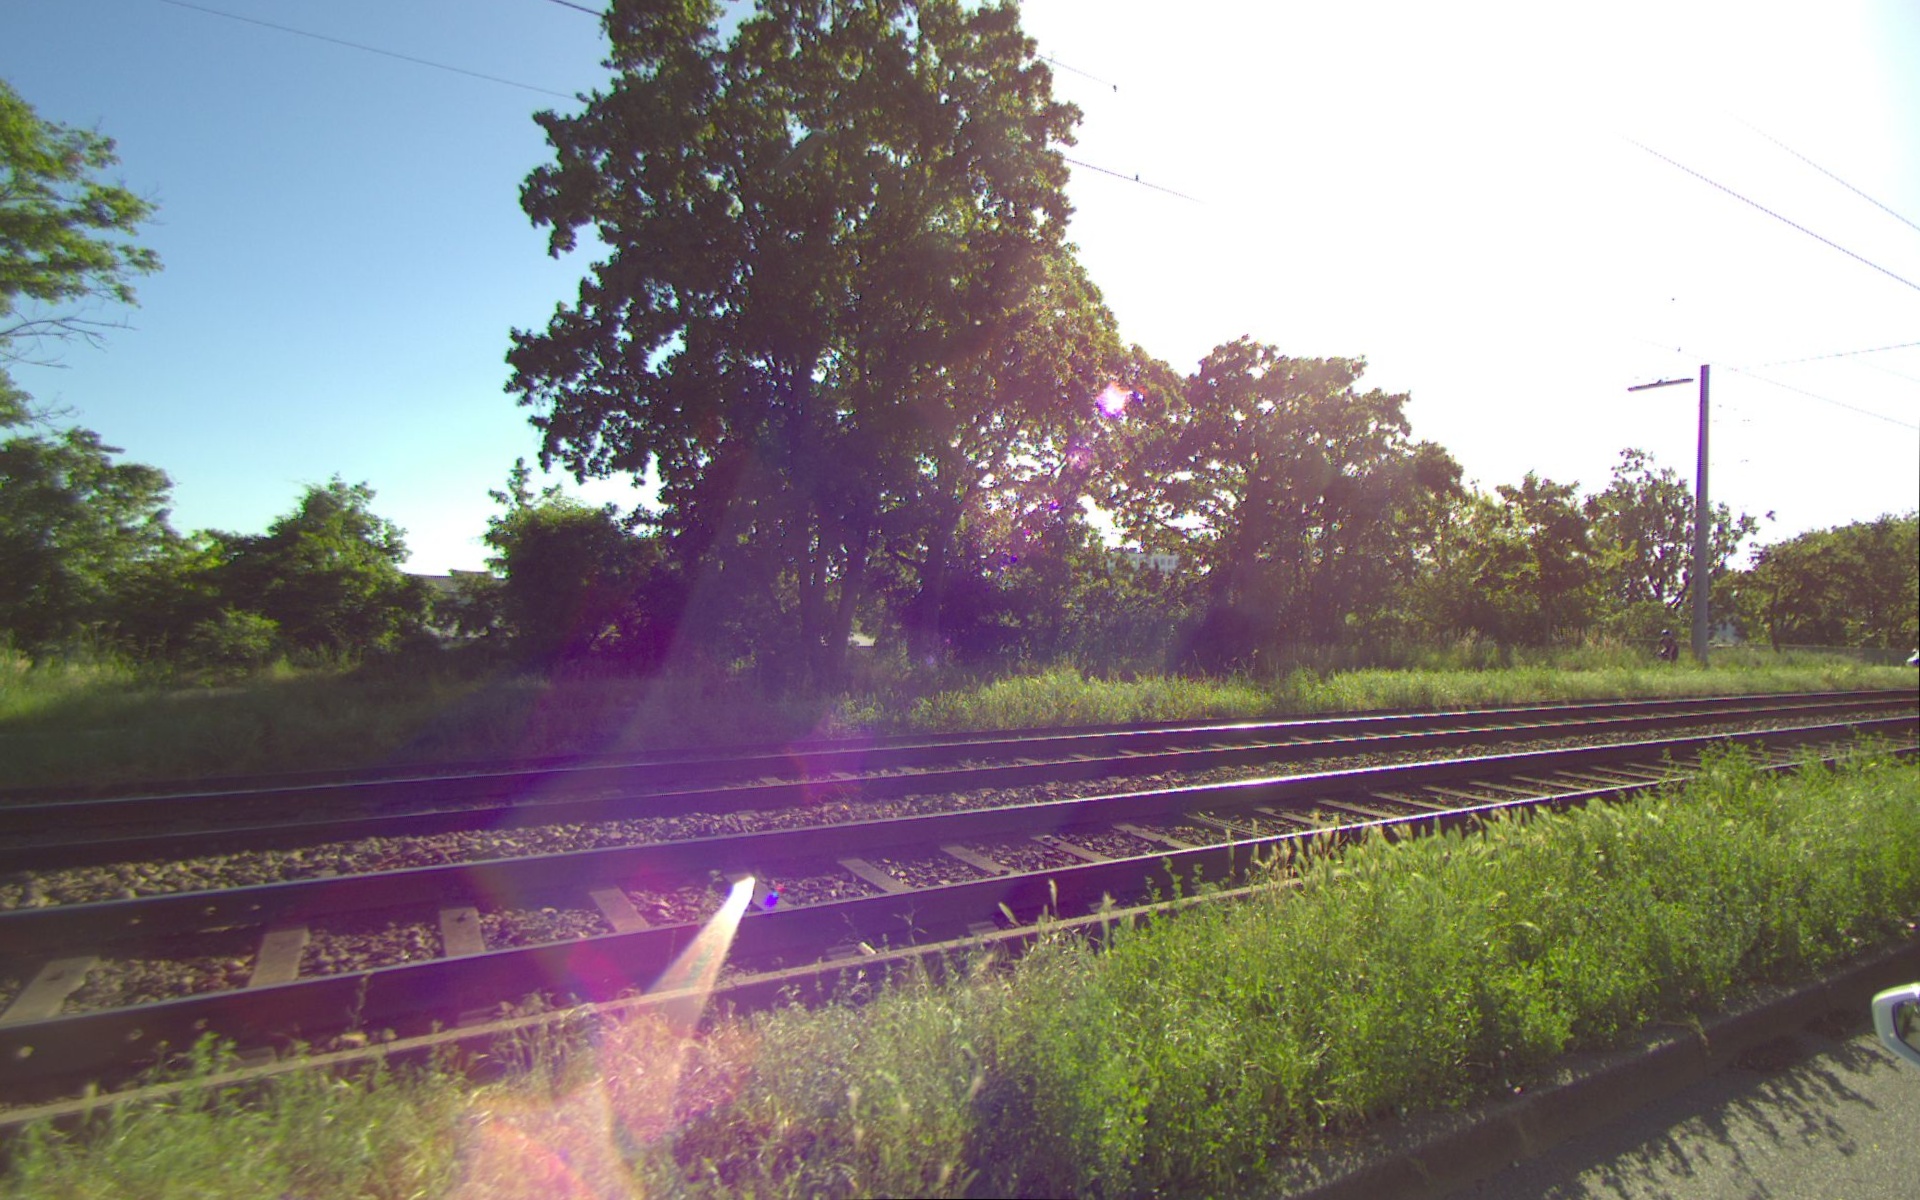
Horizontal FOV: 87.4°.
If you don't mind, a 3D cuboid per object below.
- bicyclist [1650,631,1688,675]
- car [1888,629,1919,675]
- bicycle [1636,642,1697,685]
[{"bbox_3d":[22.155,1.635,31.394,0.975,1.328,0.580,1,1,-30],"label":"bicyclist"},{"bbox_3d":[34.774,1.840,35.399,4.353,1.509,1.801,1,1,-30],"label":"car"},{"bbox_3d":[22.082,1.969,31.374,2.398,1.278,0.587,1,1,-30],"label":"bicycle"}]
